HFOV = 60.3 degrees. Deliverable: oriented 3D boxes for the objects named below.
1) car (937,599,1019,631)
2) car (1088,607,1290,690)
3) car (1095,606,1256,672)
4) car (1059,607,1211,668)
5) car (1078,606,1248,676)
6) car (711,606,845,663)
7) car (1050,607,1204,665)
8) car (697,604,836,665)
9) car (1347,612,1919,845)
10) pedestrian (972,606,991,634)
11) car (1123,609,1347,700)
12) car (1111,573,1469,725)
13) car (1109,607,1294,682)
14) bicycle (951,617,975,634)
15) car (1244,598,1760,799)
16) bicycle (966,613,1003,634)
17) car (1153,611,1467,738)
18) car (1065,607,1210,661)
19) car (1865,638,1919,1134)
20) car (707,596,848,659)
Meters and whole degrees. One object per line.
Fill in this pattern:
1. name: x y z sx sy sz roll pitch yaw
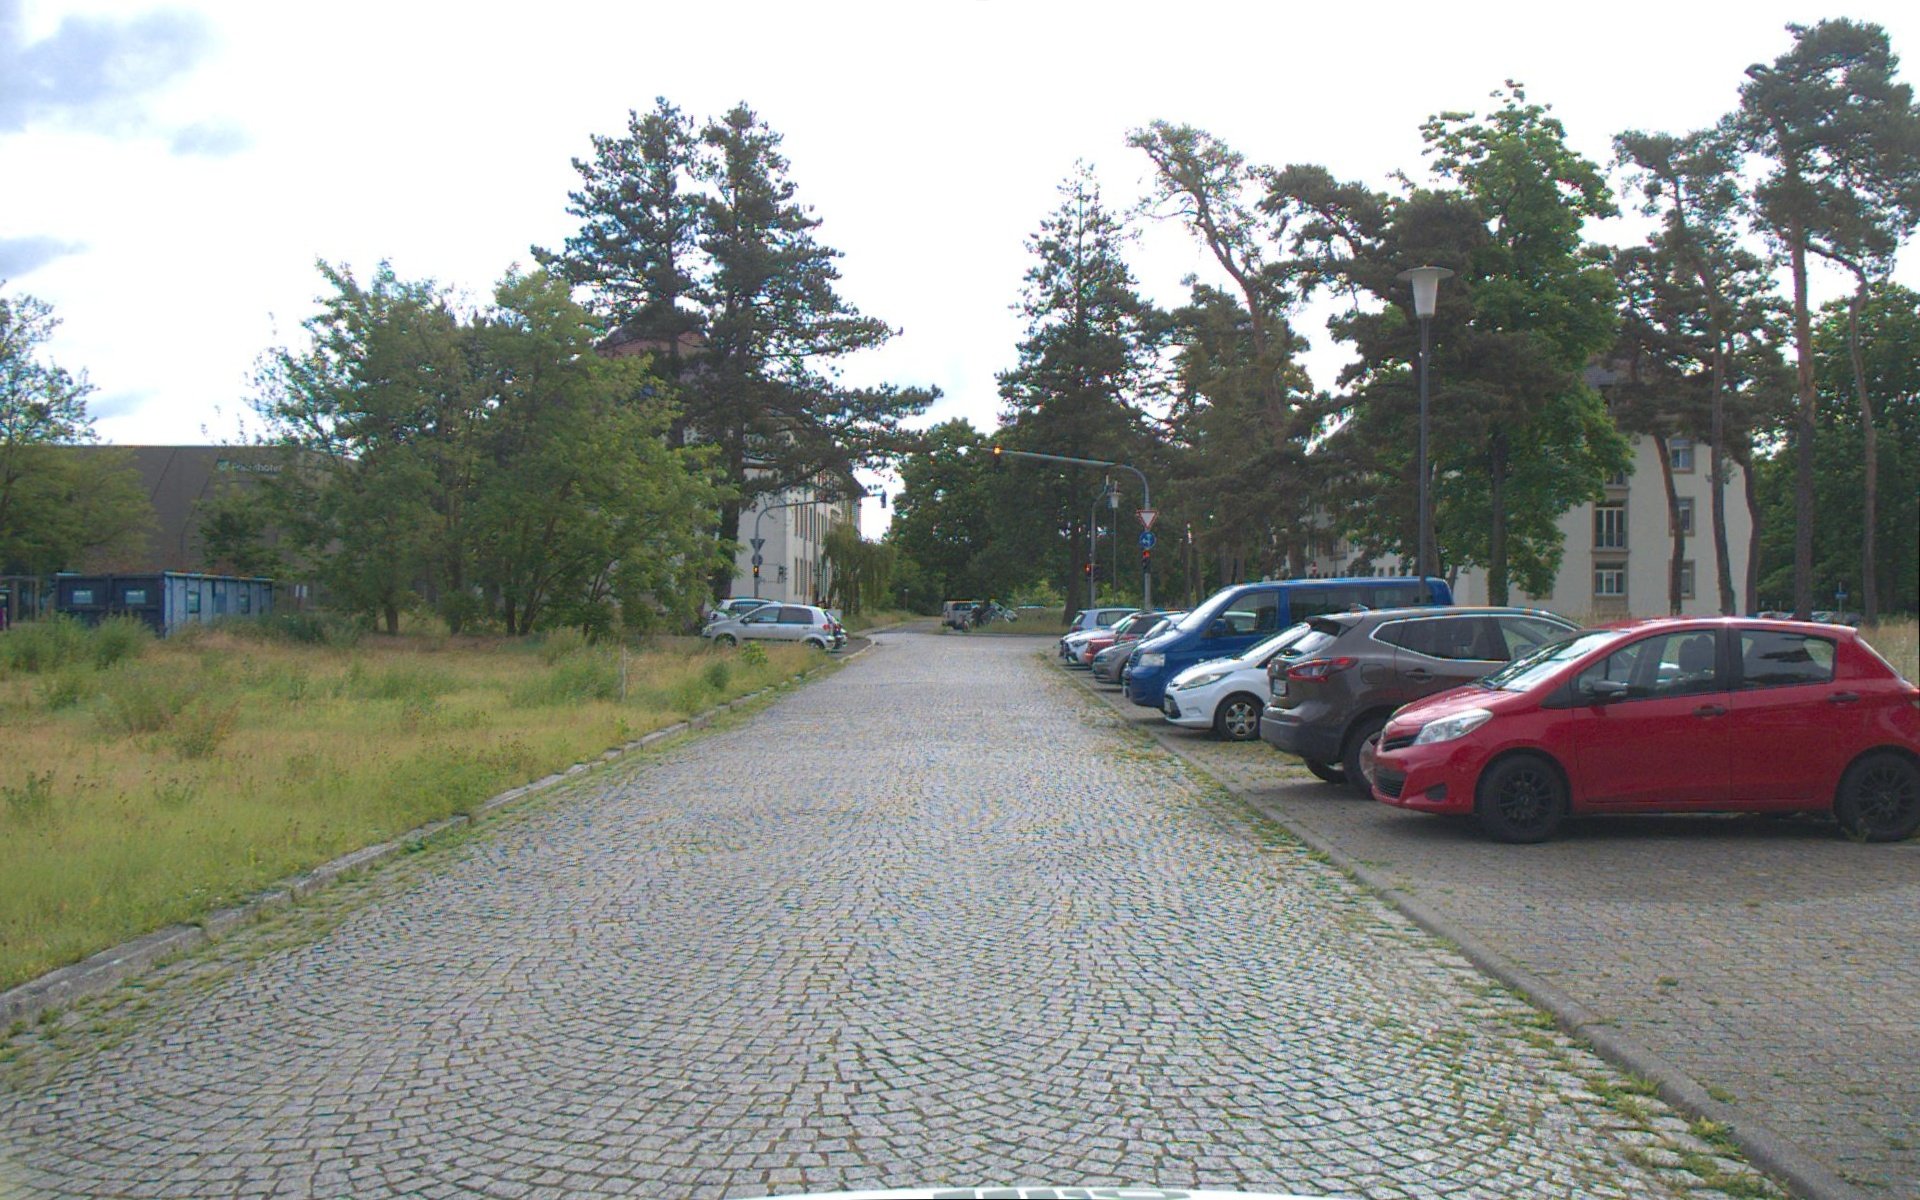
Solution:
1. car: 1.225 1.040 114.187 5.345 2.049 2.264 1 -1 -9
2. car: 4.331 0.914 31.620 3.598 1.475 1.523 -1 -1 -2
3. car: 5.128 0.926 39.601 3.598 1.475 1.523 -1 -1 -2
4. car: 4.401 0.934 41.852 3.600 1.446 1.522 -1 -1 -5
5. car: 4.550 0.907 37.315 3.598 1.475 1.523 -1 -1 -2
6. car: -5.332 1.006 48.682 3.744 1.600 1.564 -1 -1 -1
7. car: 4.486 0.955 44.707 3.890 1.446 1.618 -1 -1 -5
8. car: -5.374 0.953 46.265 3.746 1.600 1.563 -1 -1 -3
9. car: 4.859 0.863 11.927 3.714 1.486 1.751 -1 -1 0
10. pedestrian: 1.249 1.157 96.619 1.013 1.642 0.757 1 -1 -5
11. car: 4.745 0.933 28.842 3.598 1.475 1.523 -1 -1 -2
12. car: 4.609 0.675 23.566 4.658 1.989 1.930 -1 -1 -2
13. car: 5.019 0.916 34.610 3.598 1.475 1.523 -1 -1 -2
14. bicycle: 0.161 1.421 92.202 0.613 0.961 1.648 1 -1 -27
15. car: 4.663 0.816 14.595 3.948 1.580 1.750 -1 -1 -3
16. bicycle: 1.442 1.367 96.275 2.095 1.236 0.621 1 -1 -5
17. car: 4.368 0.917 20.970 3.598 1.475 1.614 -1 -1 -3
18. car: 5.046 0.953 47.359 3.890 1.446 1.618 -1 -1 -5
19. car: 4.752 0.822 4.355 3.748 1.486 1.779 -1 -1 -1
20. car: -5.673 0.856 51.670 4.175 1.873 1.743 -1 -1 -1
